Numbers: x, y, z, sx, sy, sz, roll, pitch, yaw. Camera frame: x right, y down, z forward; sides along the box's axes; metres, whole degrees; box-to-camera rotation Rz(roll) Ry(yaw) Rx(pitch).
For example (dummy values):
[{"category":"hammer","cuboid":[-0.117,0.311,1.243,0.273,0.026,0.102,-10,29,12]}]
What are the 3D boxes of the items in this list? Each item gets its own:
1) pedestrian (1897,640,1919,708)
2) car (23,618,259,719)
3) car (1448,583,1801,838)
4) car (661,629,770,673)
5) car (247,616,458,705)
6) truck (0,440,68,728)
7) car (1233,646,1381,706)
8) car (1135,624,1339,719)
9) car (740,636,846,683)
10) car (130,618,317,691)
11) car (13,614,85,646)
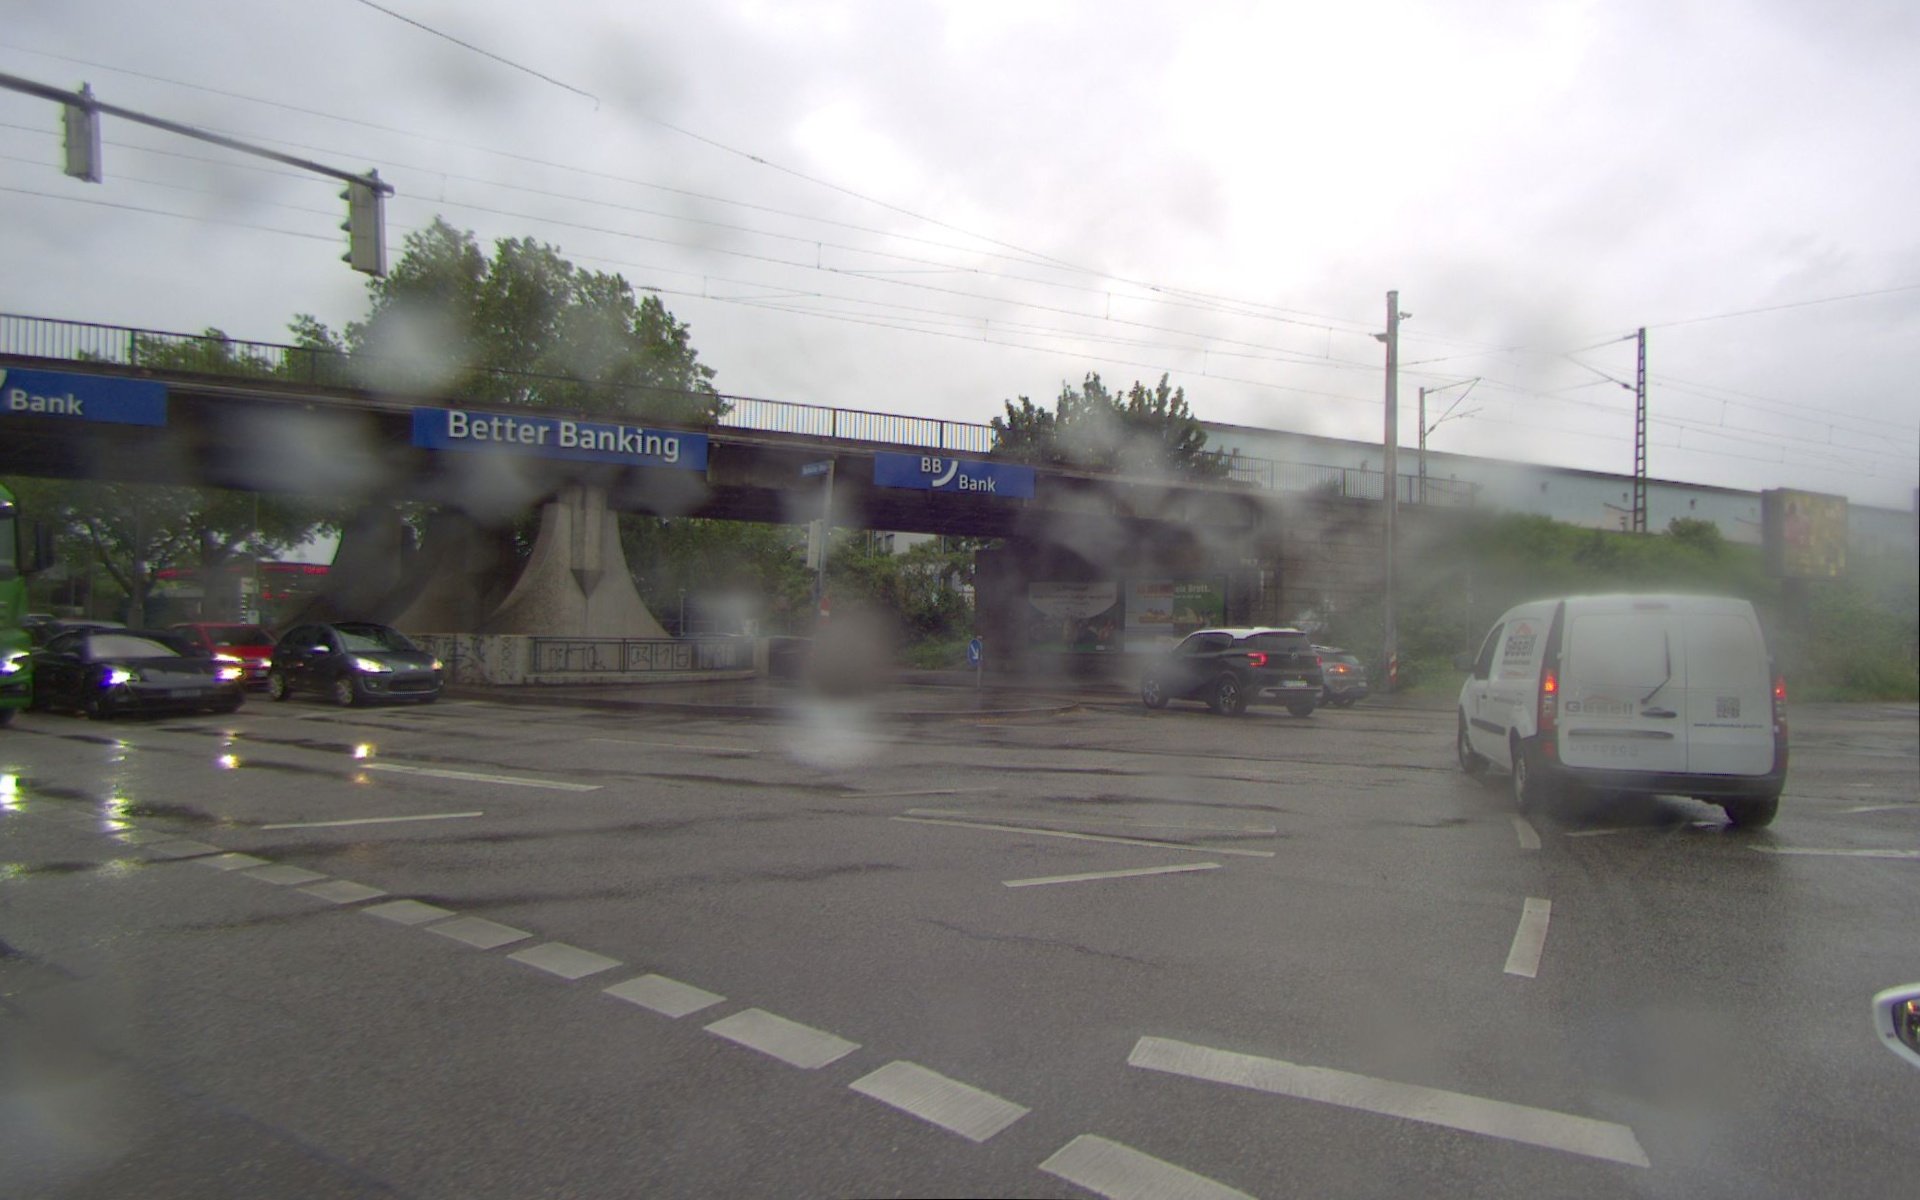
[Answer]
[{"category":"pedestrian","cuboid":[25.054,1.908,26.003,0.811,1.742,0.997,2,-2,-32]},{"category":"car","cuboid":[-13.921,1.078,17.000,4.605,1.505,1.742,-1,-2,33]},{"category":"car","cuboid":[5.758,0.857,9.293,1.727,1.801,4.001,-1,-2,19]},{"category":"car","cuboid":[-7.757,1.594,31.805,3.404,1.323,1.577,-1,-2,38]},{"category":"car","cuboid":[-11.693,1.115,19.305,3.926,1.566,1.658,0,-2,27]},{"category":"truck","cuboid":[-17.984,-0.215,15.965,10.014,4.001,2.683,0,-2,31]},{"category":"car","cuboid":[8.399,1.807,24.534,1.663,1.300,3.238,1,-2,-25]},{"category":"car","cuboid":[5.214,1.301,19.474,1.894,1.630,3.983,1,-2,-19]},{"category":"car","cuboid":[-5.603,1.955,33.624,3.296,1.493,1.566,-1,-2,31]},{"category":"car","cuboid":[-16.236,1.157,22.133,3.928,1.471,1.818,-1,-2,29]},{"category":"car","cuboid":[-54.648,1.800,60.222,3.927,1.840,1.997,-1,-2,28]}]
